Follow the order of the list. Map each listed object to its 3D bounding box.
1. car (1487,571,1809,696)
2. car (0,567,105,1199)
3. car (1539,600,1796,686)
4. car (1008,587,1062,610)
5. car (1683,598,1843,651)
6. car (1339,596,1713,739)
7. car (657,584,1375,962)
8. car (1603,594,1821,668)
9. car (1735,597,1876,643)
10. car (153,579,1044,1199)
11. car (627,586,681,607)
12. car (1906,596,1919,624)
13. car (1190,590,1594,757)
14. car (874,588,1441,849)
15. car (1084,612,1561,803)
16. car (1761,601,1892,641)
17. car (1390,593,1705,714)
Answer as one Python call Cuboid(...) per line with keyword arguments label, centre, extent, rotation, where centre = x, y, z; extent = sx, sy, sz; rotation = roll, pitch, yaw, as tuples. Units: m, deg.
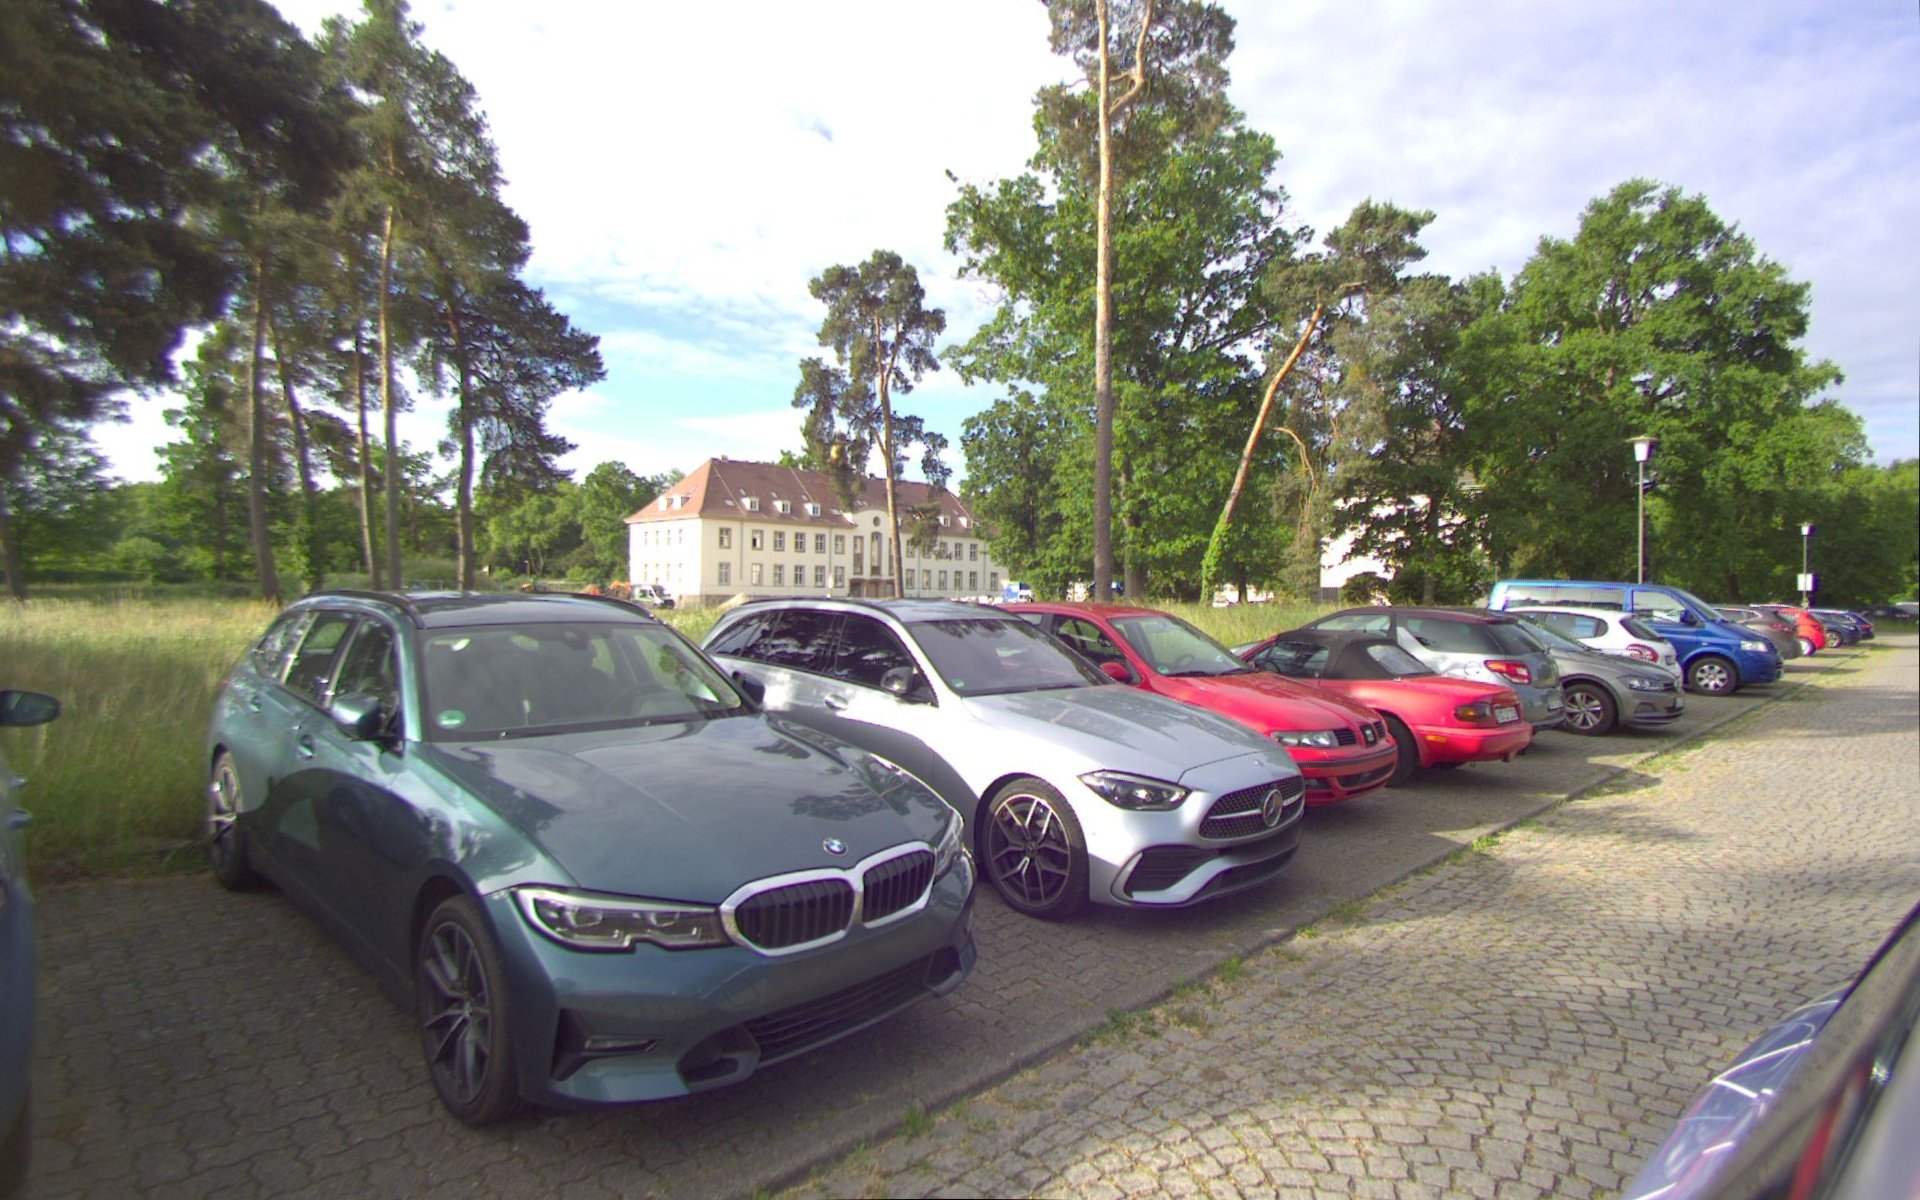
Cuboid(label="car", centre=(12.880, 0.499, 19.182), extent=(1.960, 1.952, 4.736), rotation=(0, 3, -45))
Cuboid(label="car", centre=(-4.036, 0.655, 2.965), extent=(4.544, 1.524, 1.903), rotation=(2, 2, 44))
Cuboid(label="car", centre=(14.573, 0.805, 20.982), extent=(4.188, 1.488, 1.780), rotation=(2, 2, 42))
Cuboid(label="car", centre=(7.763, -0.165, 104.231), extent=(5.860, 2.328, 2.165), rotation=(0, 0, -43))
Cuboid(label="car", centre=(25.925, 0.745, 32.756), extent=(3.879, 1.491, 1.660), rotation=(3, 2, 45))
Cuboid(label="car", centre=(7.307, 0.741, 13.327), extent=(1.800, 1.485, 3.954), rotation=(0, 2, -44))
Cuboid(label="car", centre=(0.014, 0.678, 6.422), extent=(1.819, 1.492, 4.509), rotation=(0, 2, -45))
Cuboid(label="car", centre=(18.881, 0.703, 25.520), extent=(4.192, 1.608, 1.848), rotation=(2, 2, 45))
Cuboid(label="car", centre=(33.183, 0.731, 39.804), extent=(1.718, 1.588, 4.128), rotation=(0, 2, -45))
Cuboid(label="car", centre=(-1.980, 0.685, 4.553), extent=(4.504, 1.492, 1.867), rotation=(2, 2, 42))
Cuboid(label="car", centre=(-31.198, -0.362, 103.064), extent=(5.637, 2.039, 2.596), rotation=(1, 1, 39))
Cuboid(label="car", centre=(73.081, 0.807, 74.464), extent=(1.967, 2.067, 5.068), rotation=(1, 0, -45))
Cuboid(label="car", centre=(4.844, 0.685, 11.737), extent=(1.743, 1.514, 3.954), rotation=(0, 2, -44))
Cuboid(label="car", centre=(1.345, 0.689, 8.258), extent=(1.711, 1.492, 4.344), rotation=(0, 2, -45))
Cuboid(label="car", centre=(3.257, 0.834, 9.643), extent=(1.698, 1.276, 3.954), rotation=(0, 2, -44))
Cuboid(label="car", centre=(36.635, 0.842, 42.879), extent=(1.753, 1.468, 4.032), rotation=(0, 2, -42))
Cuboid(label="car", centre=(8.970, 0.706, 15.650), extent=(1.778, 1.549, 3.878), rotation=(0, 2, -44))
